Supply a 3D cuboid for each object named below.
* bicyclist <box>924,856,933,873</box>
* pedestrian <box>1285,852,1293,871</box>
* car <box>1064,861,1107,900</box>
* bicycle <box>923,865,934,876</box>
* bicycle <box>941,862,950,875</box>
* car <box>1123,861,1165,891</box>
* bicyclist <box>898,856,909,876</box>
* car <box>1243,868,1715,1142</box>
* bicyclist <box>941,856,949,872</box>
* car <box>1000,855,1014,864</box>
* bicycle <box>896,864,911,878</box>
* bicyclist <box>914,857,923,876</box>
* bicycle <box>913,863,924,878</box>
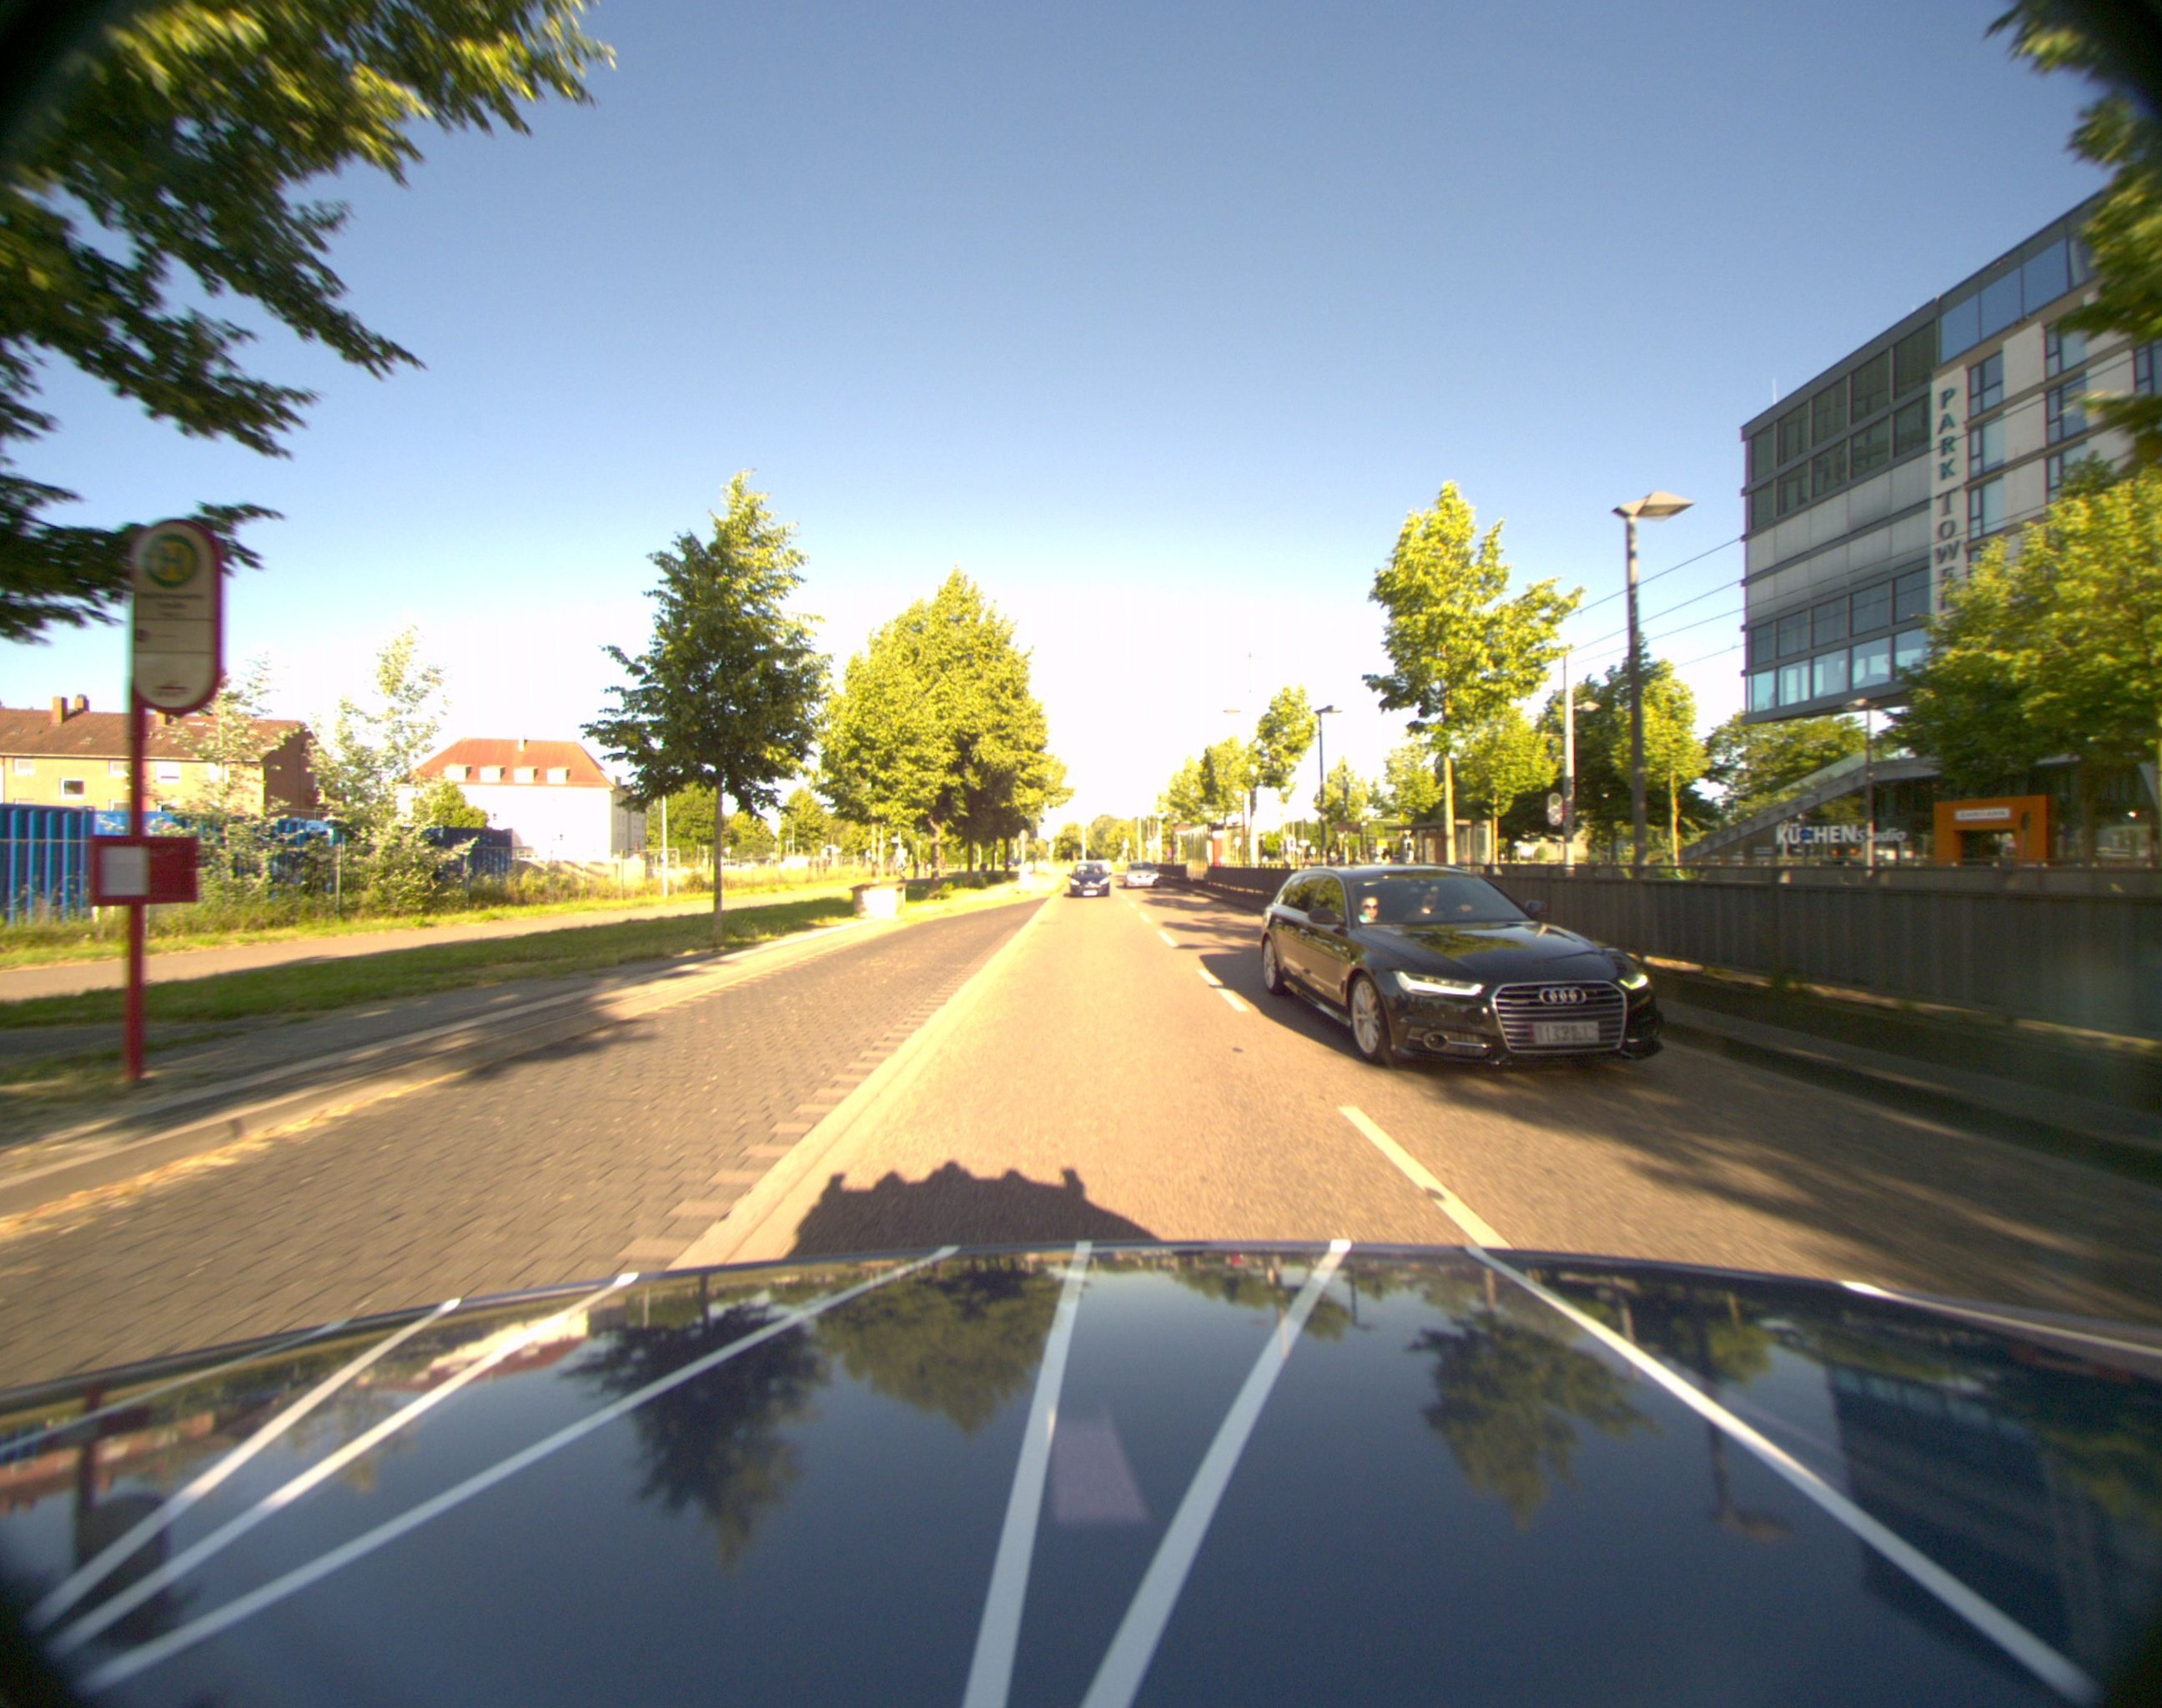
[{"bbox_3d":[-14.096,0.979,70.323,0.592,1.578,0.965,-1,2,2],"label":"bicyclist"},{"bbox_3d":[17.923,0.651,65.425,0.418,1.569,0.811,-1,2,-2],"label":"pedestrian"},{"bbox_3d":[0.265,1.116,33.867,1.763,1.506,3.948,-1,1,3],"label":"car"},{"bbox_3d":[-14.089,1.539,70.382,0.592,0.955,1.900,-1,1,1],"label":"bicycle"},{"bbox_3d":[-12.710,1.356,71.090,0.479,1.076,1.644,-1,1,1],"label":"bicycle"},{"bbox_3d":[3.447,1.202,42.251,1.849,1.560,4.528,0,0,-2],"label":"car"},{"bbox_3d":[-13.602,0.919,58.318,0.654,1.544,0.795,0,1,1],"label":"bicyclist"},{"bbox_3d":[2.861,0.938,6.821,1.789,1.518,4.601,-1,0,0],"label":"car"},{"bbox_3d":[-12.715,0.943,71.046,0.471,1.477,0.915,-1,2,1],"label":"bicyclist"},{"bbox_3d":[-11.849,0.887,121.773,1.701,1.555,3.676,0,0,1],"label":"car"},{"bbox_3d":[-13.608,1.317,58.323,0.657,1.006,1.820,0,0,1],"label":"bicycle"},{"bbox_3d":[-12.566,0.949,58.690,0.504,1.464,0.834,0,1,0],"label":"bicyclist"},{"bbox_3d":[-12.564,1.270,58.747,0.507,1.145,1.605,0,0,0],"label":"bicycle"}]
